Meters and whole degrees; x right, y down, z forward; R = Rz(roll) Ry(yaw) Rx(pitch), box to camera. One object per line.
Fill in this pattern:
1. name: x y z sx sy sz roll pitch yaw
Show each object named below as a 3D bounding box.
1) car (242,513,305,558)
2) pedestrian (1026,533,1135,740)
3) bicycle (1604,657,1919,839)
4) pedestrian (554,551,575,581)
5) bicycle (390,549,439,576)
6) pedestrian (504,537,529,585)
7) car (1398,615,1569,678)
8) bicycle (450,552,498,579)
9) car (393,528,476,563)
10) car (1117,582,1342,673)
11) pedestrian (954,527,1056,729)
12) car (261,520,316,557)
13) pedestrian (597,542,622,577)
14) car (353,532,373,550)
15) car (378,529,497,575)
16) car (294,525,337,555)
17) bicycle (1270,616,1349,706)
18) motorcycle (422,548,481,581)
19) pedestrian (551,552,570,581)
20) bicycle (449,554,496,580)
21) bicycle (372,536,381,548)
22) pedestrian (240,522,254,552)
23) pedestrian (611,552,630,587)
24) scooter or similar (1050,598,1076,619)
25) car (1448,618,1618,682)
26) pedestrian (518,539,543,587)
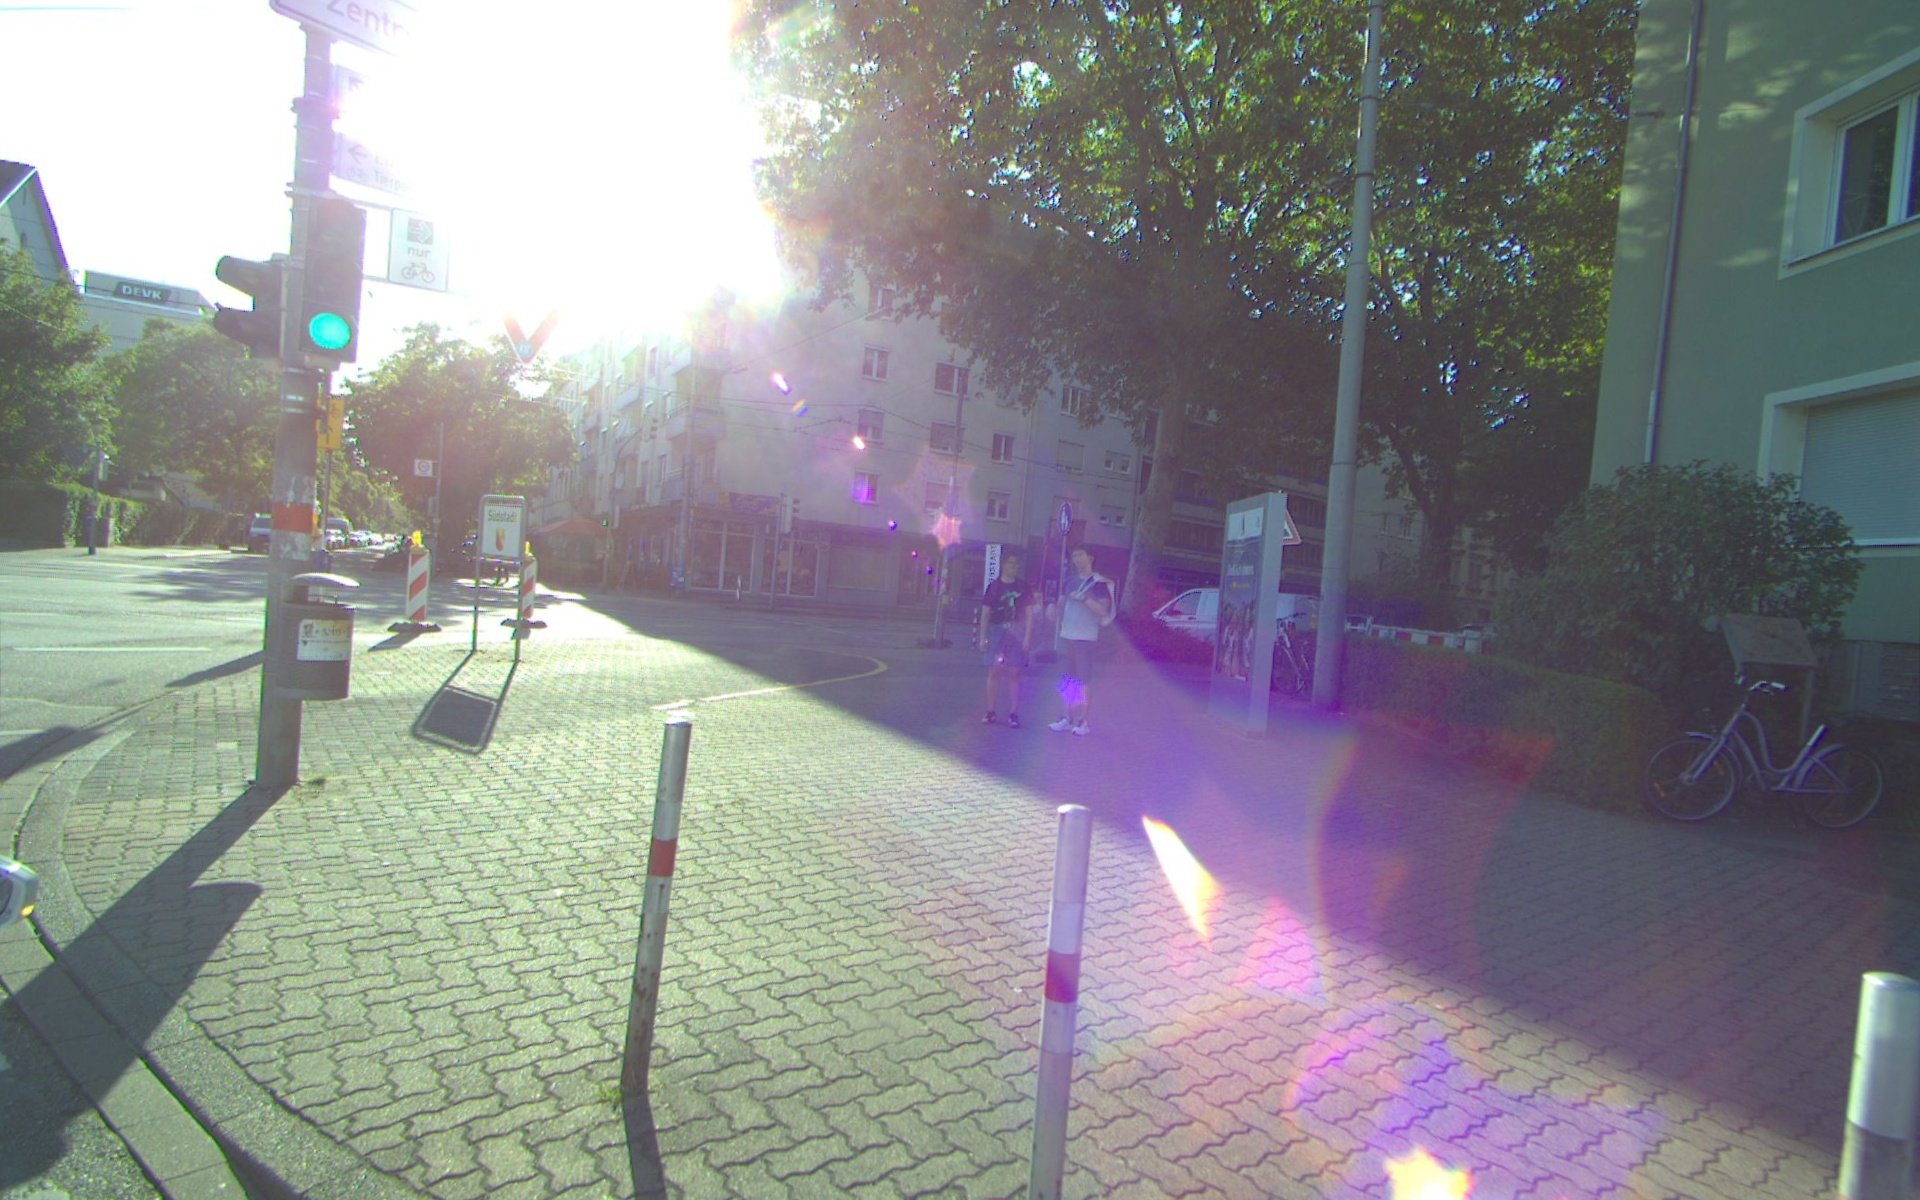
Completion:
1. car: -35.760 -3.345 52.532 2.336 2.040 5.265 4 1 -31
2. pedestrian: 1.123 0.324 9.282 0.680 1.773 0.794 6 2 20
3. bicycle: 5.889 1.055 7.336 1.897 1.071 0.521 5 2 4
4. pedestrian: -19.207 -1.633 48.849 0.803 1.380 0.908 4 2 -24
5. bicycle: -22.028 -1.525 40.637 1.708 0.945 0.667 4 2 -30
6. pedestrian: -17.114 -1.518 38.817 0.682 1.773 0.791 4 2 -18
7. car: 17.557 1.536 33.937 1.901 1.623 4.681 4 1 -36
8. bicycle: -19.933 -1.397 41.243 1.708 0.945 0.557 4 2 -30
9. car: -37.928 -3.898 72.658 5.051 1.948 2.344 5 -1 -32
10. car: 6.518 0.608 24.932 1.913 1.849 5.186 5 -1 -37
11. pedestrian: 0.438 0.250 9.481 0.680 1.773 0.794 5 2 13
12. car: -38.632 -3.550 57.987 2.336 1.818 5.265 4 1 -31
13. pedestrian: -16.861 -1.950 48.371 0.806 1.565 0.905 3 2 -35
14. car: -73.041 -7.219 123.124 1.979 1.708 3.971 8 -3 -30
15. car: -28.669 -2.577 55.265 5.577 1.948 2.344 5 -1 -32
16. car: -45.610 -4.261 71.259 2.336 1.818 5.265 4 1 -31
17. bicycle: 4.753 0.797 13.786 0.511 1.070 1.934 5 1 6
18. motorcycle: -19.959 -1.387 39.518 1.938 1.124 0.830 4 2 -35
19. pedestrian: -19.855 -1.656 50.001 0.803 1.380 0.909 4 2 -24
20. bicycle: -20.307 -1.364 41.911 1.708 0.945 0.557 4 2 -30
21. bicycle: -69.066 -6.877 119.126 0.759 1.341 1.909 4 1 -28
22. pedestrian: -42.505 -3.750 59.972 0.575 1.753 0.602 4 2 -35
23. pedestrian: -16.132 -1.459 47.803 0.472 1.613 0.615 7 3 44
24. scooter or similar: 5.216 0.449 50.918 1.421 0.966 0.462 4 2 -44
25. car: 19.796 1.706 34.968 1.901 1.744 4.680 4 1 -37
26. pedestrian: -16.631 -1.434 38.943 0.685 1.773 0.834 4 2 -29
